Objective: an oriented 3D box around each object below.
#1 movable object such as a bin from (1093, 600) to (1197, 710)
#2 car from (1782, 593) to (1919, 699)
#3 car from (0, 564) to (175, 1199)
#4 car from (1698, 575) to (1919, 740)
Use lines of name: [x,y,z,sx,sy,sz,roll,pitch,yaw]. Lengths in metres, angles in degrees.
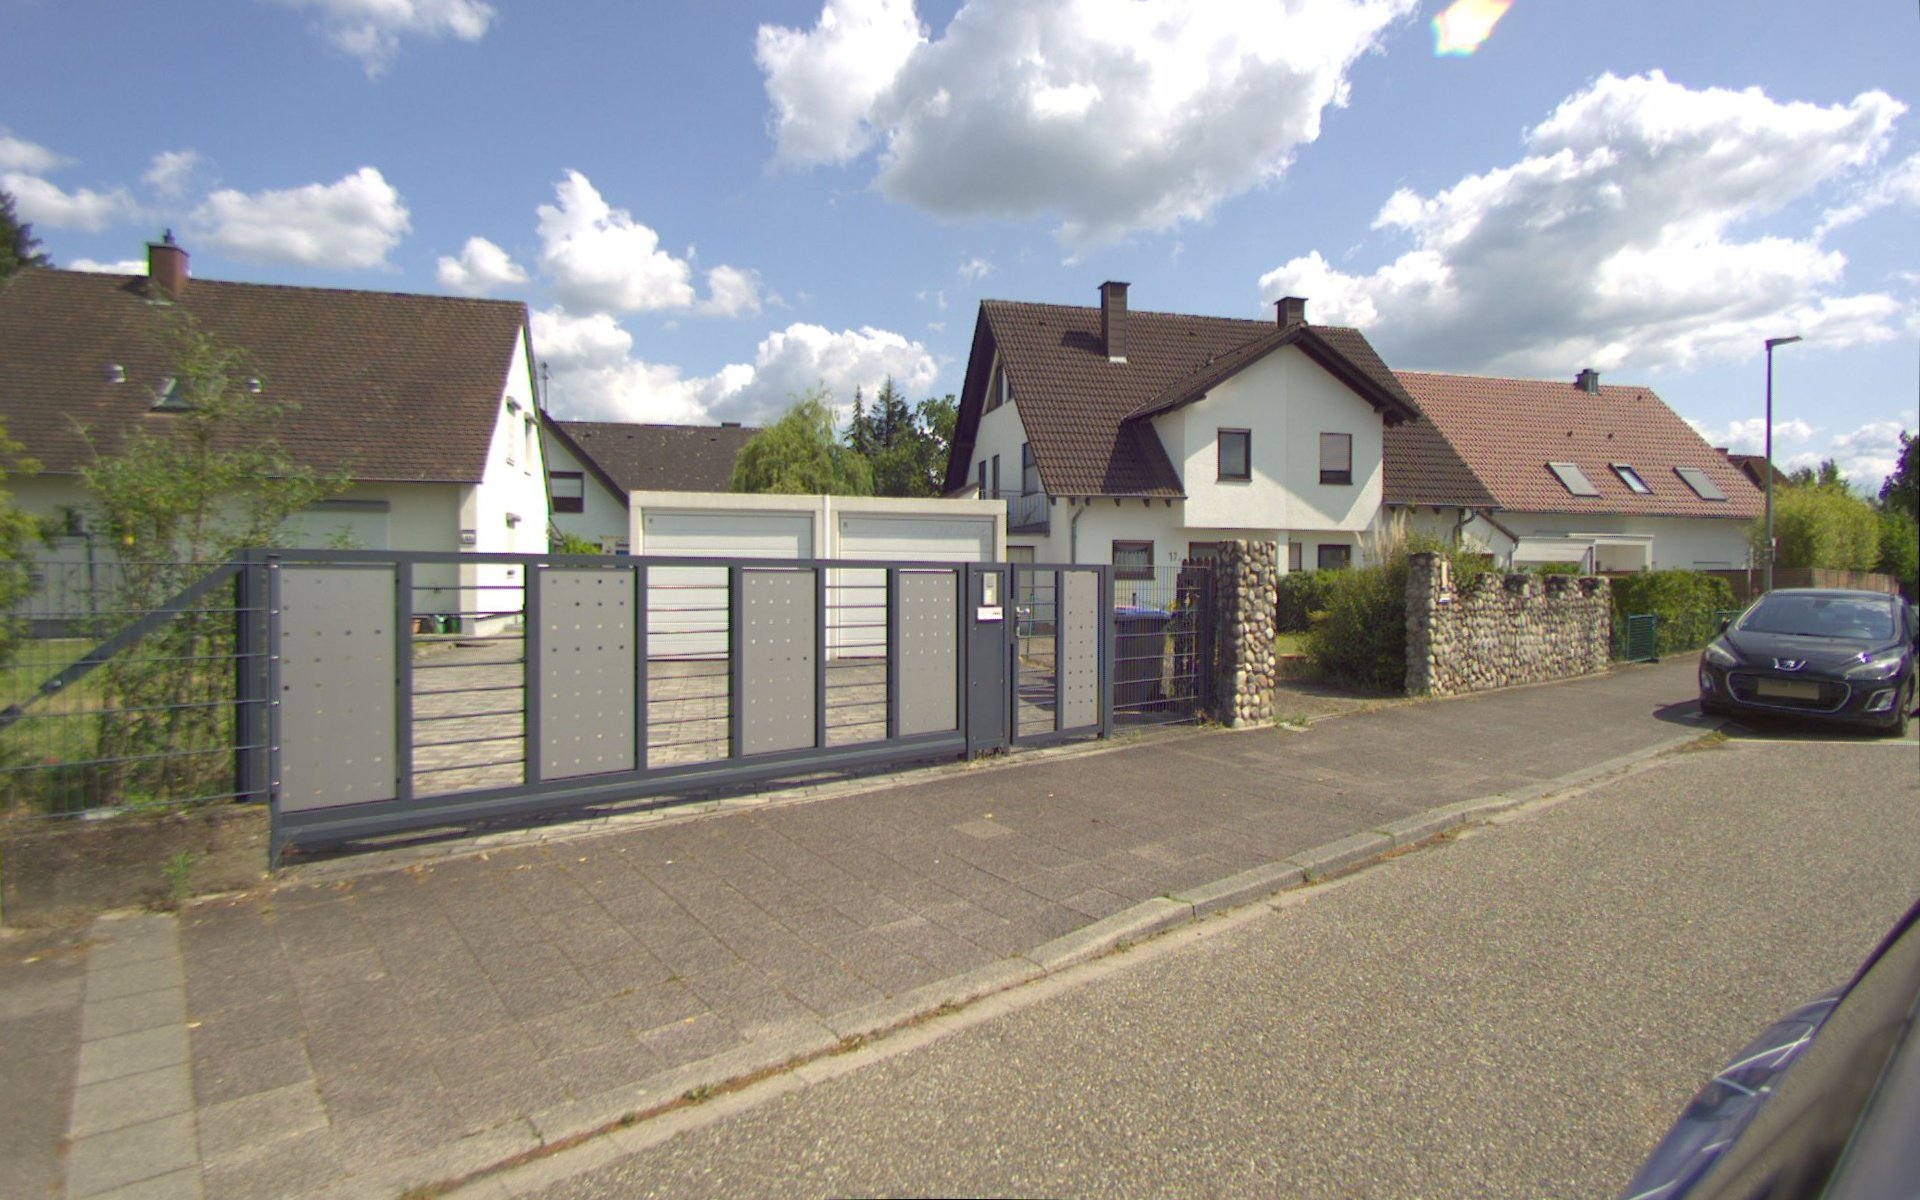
movable object such as a bin: [1.898,0.541,10.461,0.751,1.071,0.779,-1,1,-23]
car: [13.533,0.586,14.735,3.892,1.334,1.714,-1,1,-40]
car: [-3.334,0.726,0.411,4.675,1.481,1.694,-1,1,-42]
car: [10.192,0.514,11.791,4.051,1.570,1.746,-1,2,-42]
